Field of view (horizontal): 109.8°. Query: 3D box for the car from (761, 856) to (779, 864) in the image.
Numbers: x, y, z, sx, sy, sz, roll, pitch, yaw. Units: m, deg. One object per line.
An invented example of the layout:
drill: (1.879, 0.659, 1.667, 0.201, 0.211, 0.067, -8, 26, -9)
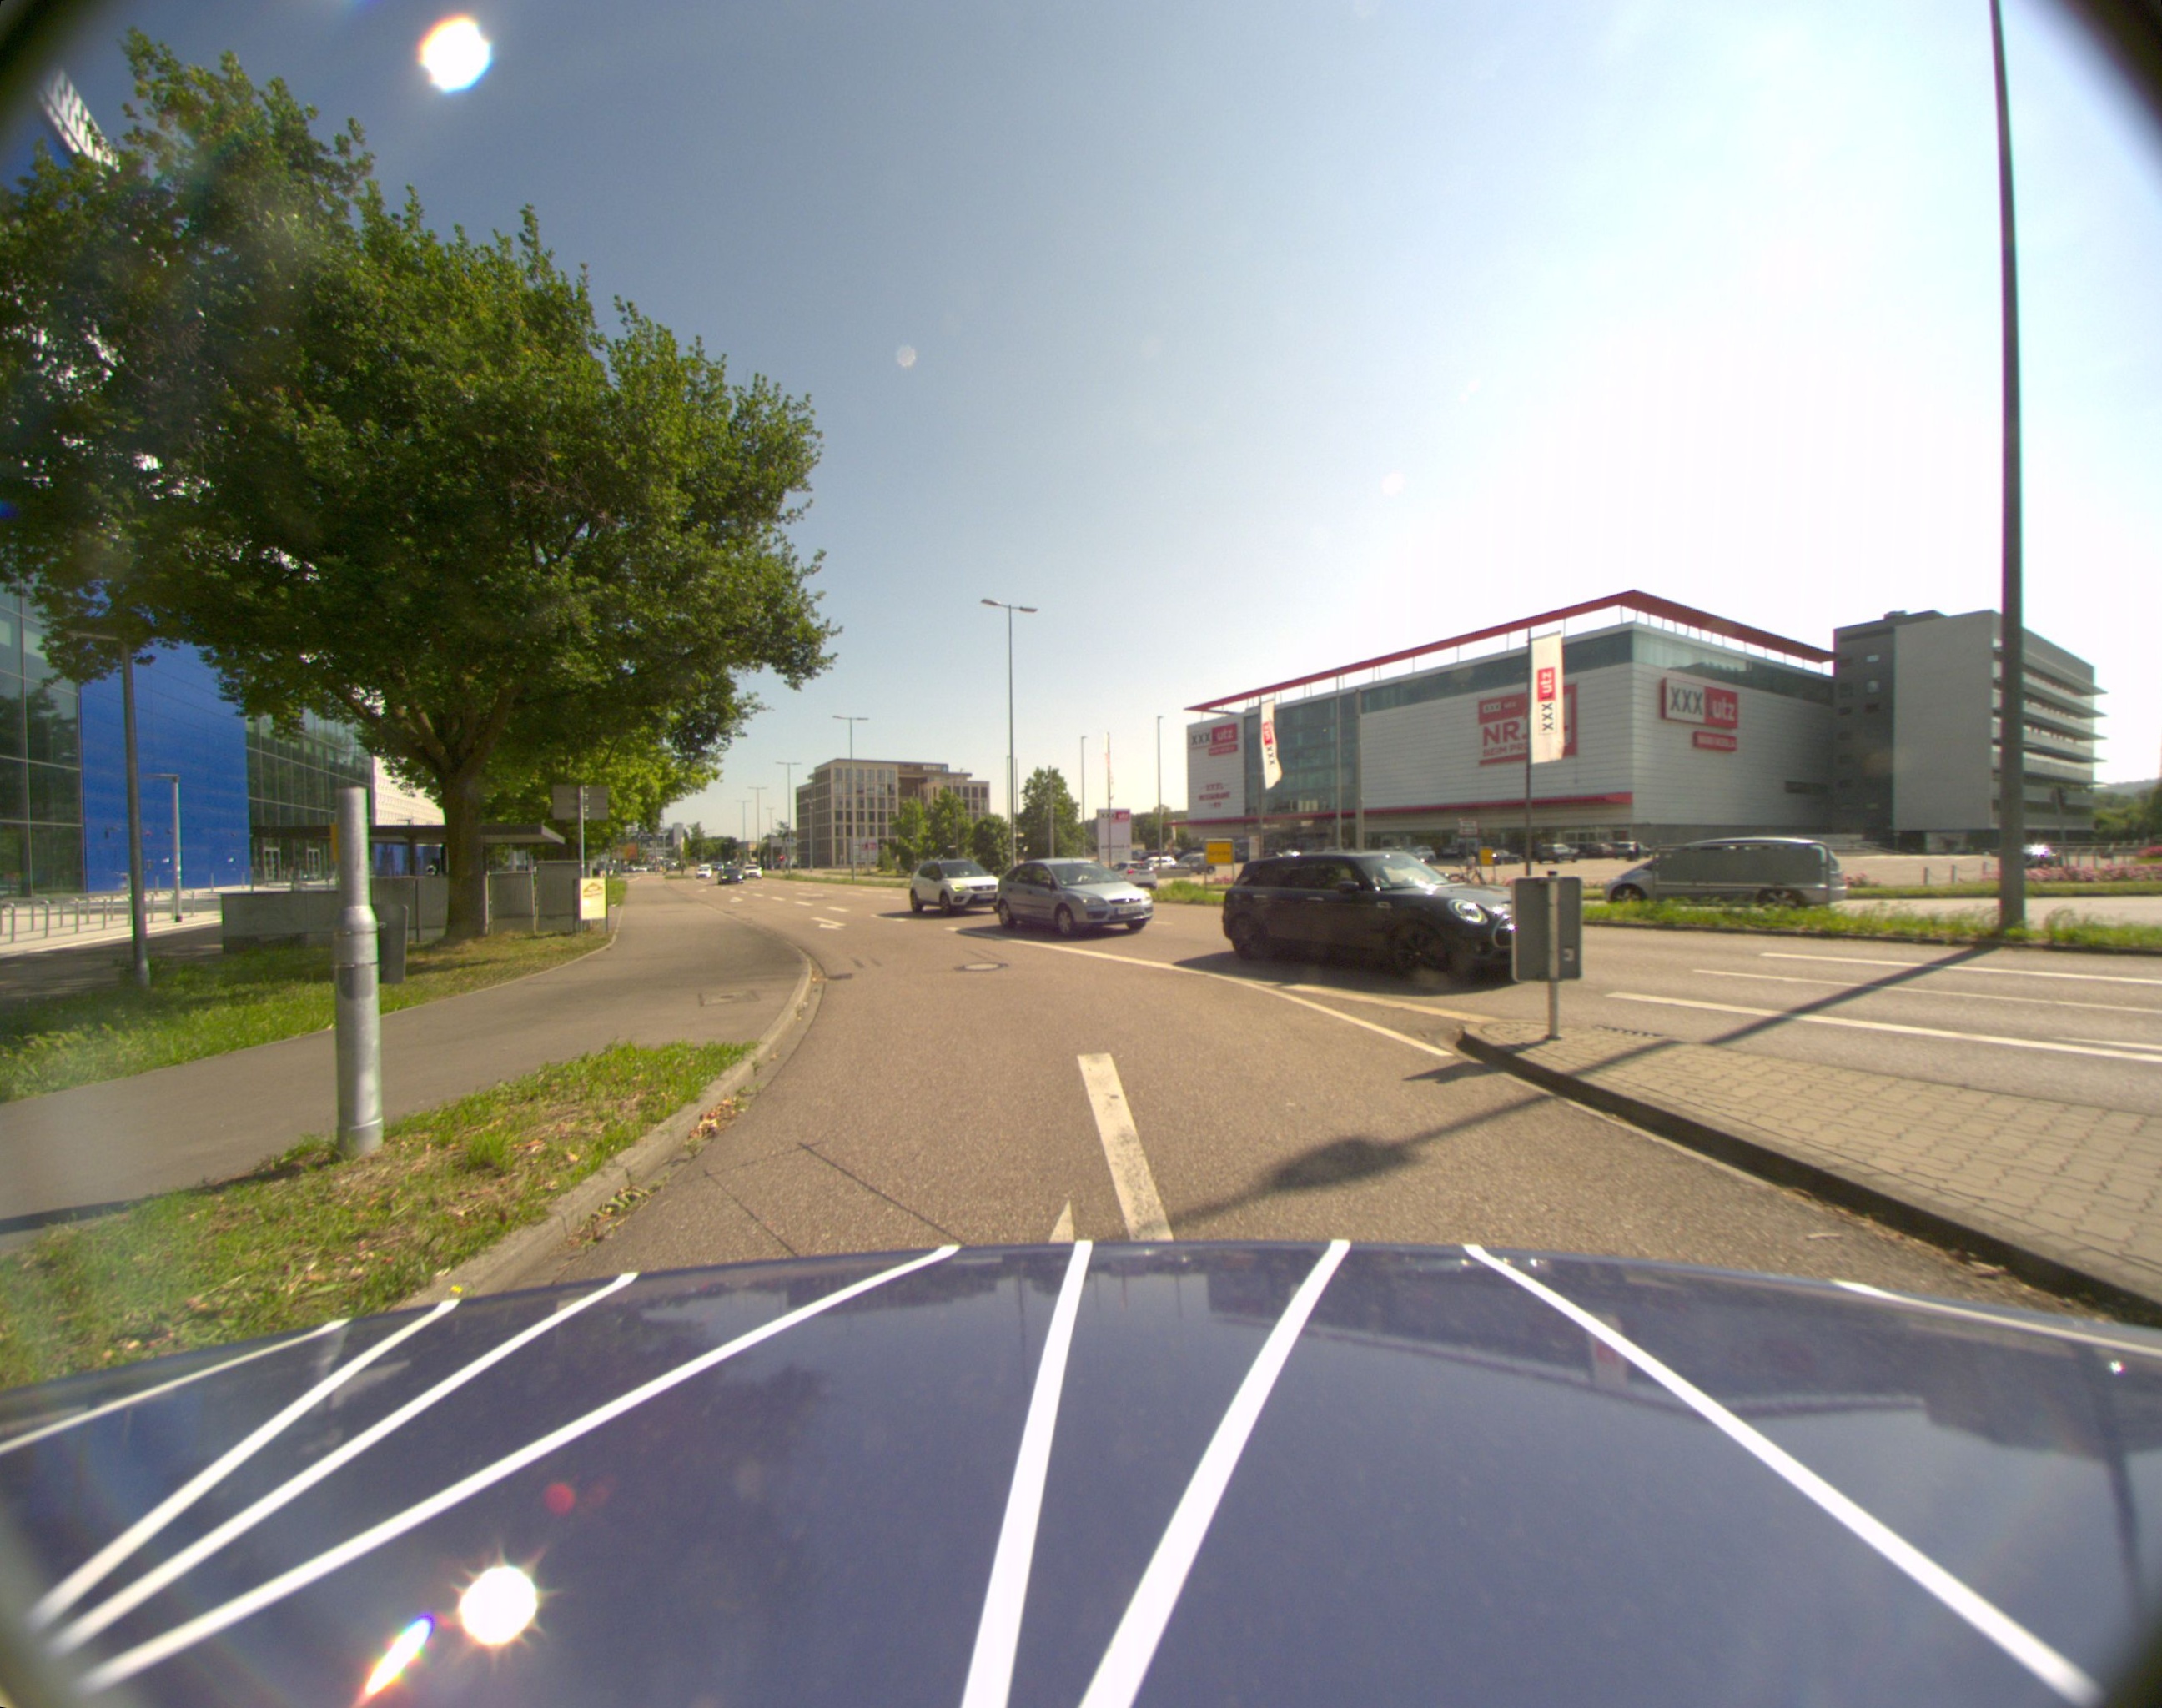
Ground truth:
car: (-83.245, 1.637, 203.430, 4.000, 2.002, 1.998, -1, 1, -10)

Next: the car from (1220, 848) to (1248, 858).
car: (19.572, -0.104, 97.148, 3.516, 1.192, 1.477, -2, 2, -31)

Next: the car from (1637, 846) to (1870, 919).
car: (10.363, 0.405, 11.848, 1.123, 0.998, 2.486, -1, 0, -29)

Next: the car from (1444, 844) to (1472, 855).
car: (42.933, -0.522, 86.523, 3.102, 1.218, 1.512, -2, 2, -31)

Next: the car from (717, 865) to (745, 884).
car: (-31.555, 1.810, 68.478, 1.774, 1.456, 4.228, -3, 2, -30)

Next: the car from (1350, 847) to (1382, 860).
car: (29.941, -0.065, 79.862, 3.102, 1.322, 1.512, -2, 2, -31)

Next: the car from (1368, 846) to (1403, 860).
car: (31.068, -0.071, 77.469, 3.421, 1.322, 1.585, -2, 0, -34)

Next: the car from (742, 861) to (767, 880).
car: (-36.055, 1.773, 83.788, 2.030, 1.827, 4.301, -2, 2, -30)

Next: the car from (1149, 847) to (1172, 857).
car: (11.729, -0.266, 112.079, 3.229, 1.322, 1.512, -2, 2, -31)

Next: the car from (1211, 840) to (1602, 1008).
car: (3.709, 0.690, 9.454, 1.745, 1.503, 4.190, -4, 2, -31)

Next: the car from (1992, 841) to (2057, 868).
car: (51.707, 0.013, 41.632, 3.865, 1.322, 1.724, -2, 2, -31)

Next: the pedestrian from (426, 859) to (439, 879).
pedestrian: (-51.796, 1.216, 60.713, 0.691, 1.602, 0.769, -1, 0, -34)

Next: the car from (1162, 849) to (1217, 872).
car: (9.295, 0.553, 65.269, 4.434, 1.832, 1.940, -2, 1, -31)

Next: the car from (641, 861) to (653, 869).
car: (-91.817, 2.275, 160.749, 1.891, 1.452, 3.991, -2, 2, -25)

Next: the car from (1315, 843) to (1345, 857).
car: (30.113, -0.469, 91.832, 3.578, 1.620, 1.659, -2, 0, -35)

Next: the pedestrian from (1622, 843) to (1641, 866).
pedestrian: (47.949, 0.055, 66.179, 0.950, 2.002, 0.973, -2, 1, -30)

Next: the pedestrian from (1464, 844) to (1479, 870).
pedestrian: (28.087, 0.209, 54.636, 0.783, 1.884, 0.498, -1, 0, 0)

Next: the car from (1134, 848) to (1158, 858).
car: (9.754, -0.154, 113.710, 3.229, 1.322, 1.512, -2, 2, -31)

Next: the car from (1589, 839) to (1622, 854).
car: (51.536, -0.739, 74.672, 3.102, 1.322, 1.512, -2, 2, -31)

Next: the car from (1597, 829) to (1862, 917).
car: (13.475, 0.395, 16.025, 1.635, 1.615, 3.908, -2, -1, -33)

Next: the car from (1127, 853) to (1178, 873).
car: (6.580, 0.806, 69.502, 4.434, 1.618, 1.866, -2, 1, -33)

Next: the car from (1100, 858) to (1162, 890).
car: (2.671, 1.024, 41.208, 1.801, 1.538, 4.079, -2, 1, -20)

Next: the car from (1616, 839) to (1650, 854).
car: (52.583, -0.693, 72.371, 3.102, 1.322, 1.512, -2, 2, -31)

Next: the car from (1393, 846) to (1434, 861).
car: (33.138, -0.089, 75.621, 4.321, 1.322, 1.512, -2, 2, -31)

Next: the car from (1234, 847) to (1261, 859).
car: (20.731, -0.118, 94.634, 3.102, 1.322, 1.512, -2, 2, -31)

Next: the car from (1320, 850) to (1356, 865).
car: (23.531, 0.307, 69.631, 3.102, 1.322, 1.512, -2, 2, -31)

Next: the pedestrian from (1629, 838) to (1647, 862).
pedestrian: (48.826, -0.349, 66.619, 0.950, 2.002, 0.973, -1, 0, -30)

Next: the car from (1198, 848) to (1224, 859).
car: (17.394, -0.035, 101.805, 3.102, 1.322, 1.699, -2, 2, -31)

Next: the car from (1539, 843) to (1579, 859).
car: (42.081, -0.268, 66.908, 3.102, 1.322, 1.774, -2, 2, -31)

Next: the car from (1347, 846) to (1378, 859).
car: (29.627, -0.186, 79.938, 3.102, 1.322, 1.512, -2, 2, -31)

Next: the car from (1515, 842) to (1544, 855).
car: (47.436, -0.579, 80.365, 3.102, 1.260, 1.363, -2, 2, -31)

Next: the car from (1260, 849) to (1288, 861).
car: (23.066, 0.093, 90.638, 3.102, 1.286, 1.512, -2, 2, -31)

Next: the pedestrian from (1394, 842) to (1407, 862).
pedestrian: (30.300, -0.218, 72.148, 0.857, 1.846, 0.750, -1, 0, -31)

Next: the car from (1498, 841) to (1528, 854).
car: (46.869, -0.717, 82.454, 3.102, 1.322, 1.512, -2, 2, -31)

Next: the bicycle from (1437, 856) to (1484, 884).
bicycle: (14.404, 0.603, 28.868, 0.332, 1.017, 1.639, -1, 2, -34)

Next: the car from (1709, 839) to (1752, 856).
car: (56.100, -0.592, 65.593, 3.680, 1.322, 1.747, -2, 2, -31)

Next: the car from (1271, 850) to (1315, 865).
car: (20.730, 0.321, 74.301, 4.510, 1.322, 1.512, -2, 2, -31)

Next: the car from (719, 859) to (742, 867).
car: (-78.963, 2.028, 171.315, 4.489, 1.578, 1.975, -1, 1, -29)

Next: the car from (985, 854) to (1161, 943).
car: (-0.314, 0.819, 15.756, 1.714, 1.564, 4.164, -1, 0, -32)

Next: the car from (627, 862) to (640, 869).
car: (-93.852, 2.359, 159.359, 2.002, 1.452, 3.992, -2, 0, -25)

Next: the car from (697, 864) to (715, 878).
car: (-49.603, 2.251, 100.442, 1.837, 1.703, 3.756, -2, 2, -31)

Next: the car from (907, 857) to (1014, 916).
car: (-3.542, 0.931, 21.806, 1.638, 1.489, 3.862, -3, -1, -31)
